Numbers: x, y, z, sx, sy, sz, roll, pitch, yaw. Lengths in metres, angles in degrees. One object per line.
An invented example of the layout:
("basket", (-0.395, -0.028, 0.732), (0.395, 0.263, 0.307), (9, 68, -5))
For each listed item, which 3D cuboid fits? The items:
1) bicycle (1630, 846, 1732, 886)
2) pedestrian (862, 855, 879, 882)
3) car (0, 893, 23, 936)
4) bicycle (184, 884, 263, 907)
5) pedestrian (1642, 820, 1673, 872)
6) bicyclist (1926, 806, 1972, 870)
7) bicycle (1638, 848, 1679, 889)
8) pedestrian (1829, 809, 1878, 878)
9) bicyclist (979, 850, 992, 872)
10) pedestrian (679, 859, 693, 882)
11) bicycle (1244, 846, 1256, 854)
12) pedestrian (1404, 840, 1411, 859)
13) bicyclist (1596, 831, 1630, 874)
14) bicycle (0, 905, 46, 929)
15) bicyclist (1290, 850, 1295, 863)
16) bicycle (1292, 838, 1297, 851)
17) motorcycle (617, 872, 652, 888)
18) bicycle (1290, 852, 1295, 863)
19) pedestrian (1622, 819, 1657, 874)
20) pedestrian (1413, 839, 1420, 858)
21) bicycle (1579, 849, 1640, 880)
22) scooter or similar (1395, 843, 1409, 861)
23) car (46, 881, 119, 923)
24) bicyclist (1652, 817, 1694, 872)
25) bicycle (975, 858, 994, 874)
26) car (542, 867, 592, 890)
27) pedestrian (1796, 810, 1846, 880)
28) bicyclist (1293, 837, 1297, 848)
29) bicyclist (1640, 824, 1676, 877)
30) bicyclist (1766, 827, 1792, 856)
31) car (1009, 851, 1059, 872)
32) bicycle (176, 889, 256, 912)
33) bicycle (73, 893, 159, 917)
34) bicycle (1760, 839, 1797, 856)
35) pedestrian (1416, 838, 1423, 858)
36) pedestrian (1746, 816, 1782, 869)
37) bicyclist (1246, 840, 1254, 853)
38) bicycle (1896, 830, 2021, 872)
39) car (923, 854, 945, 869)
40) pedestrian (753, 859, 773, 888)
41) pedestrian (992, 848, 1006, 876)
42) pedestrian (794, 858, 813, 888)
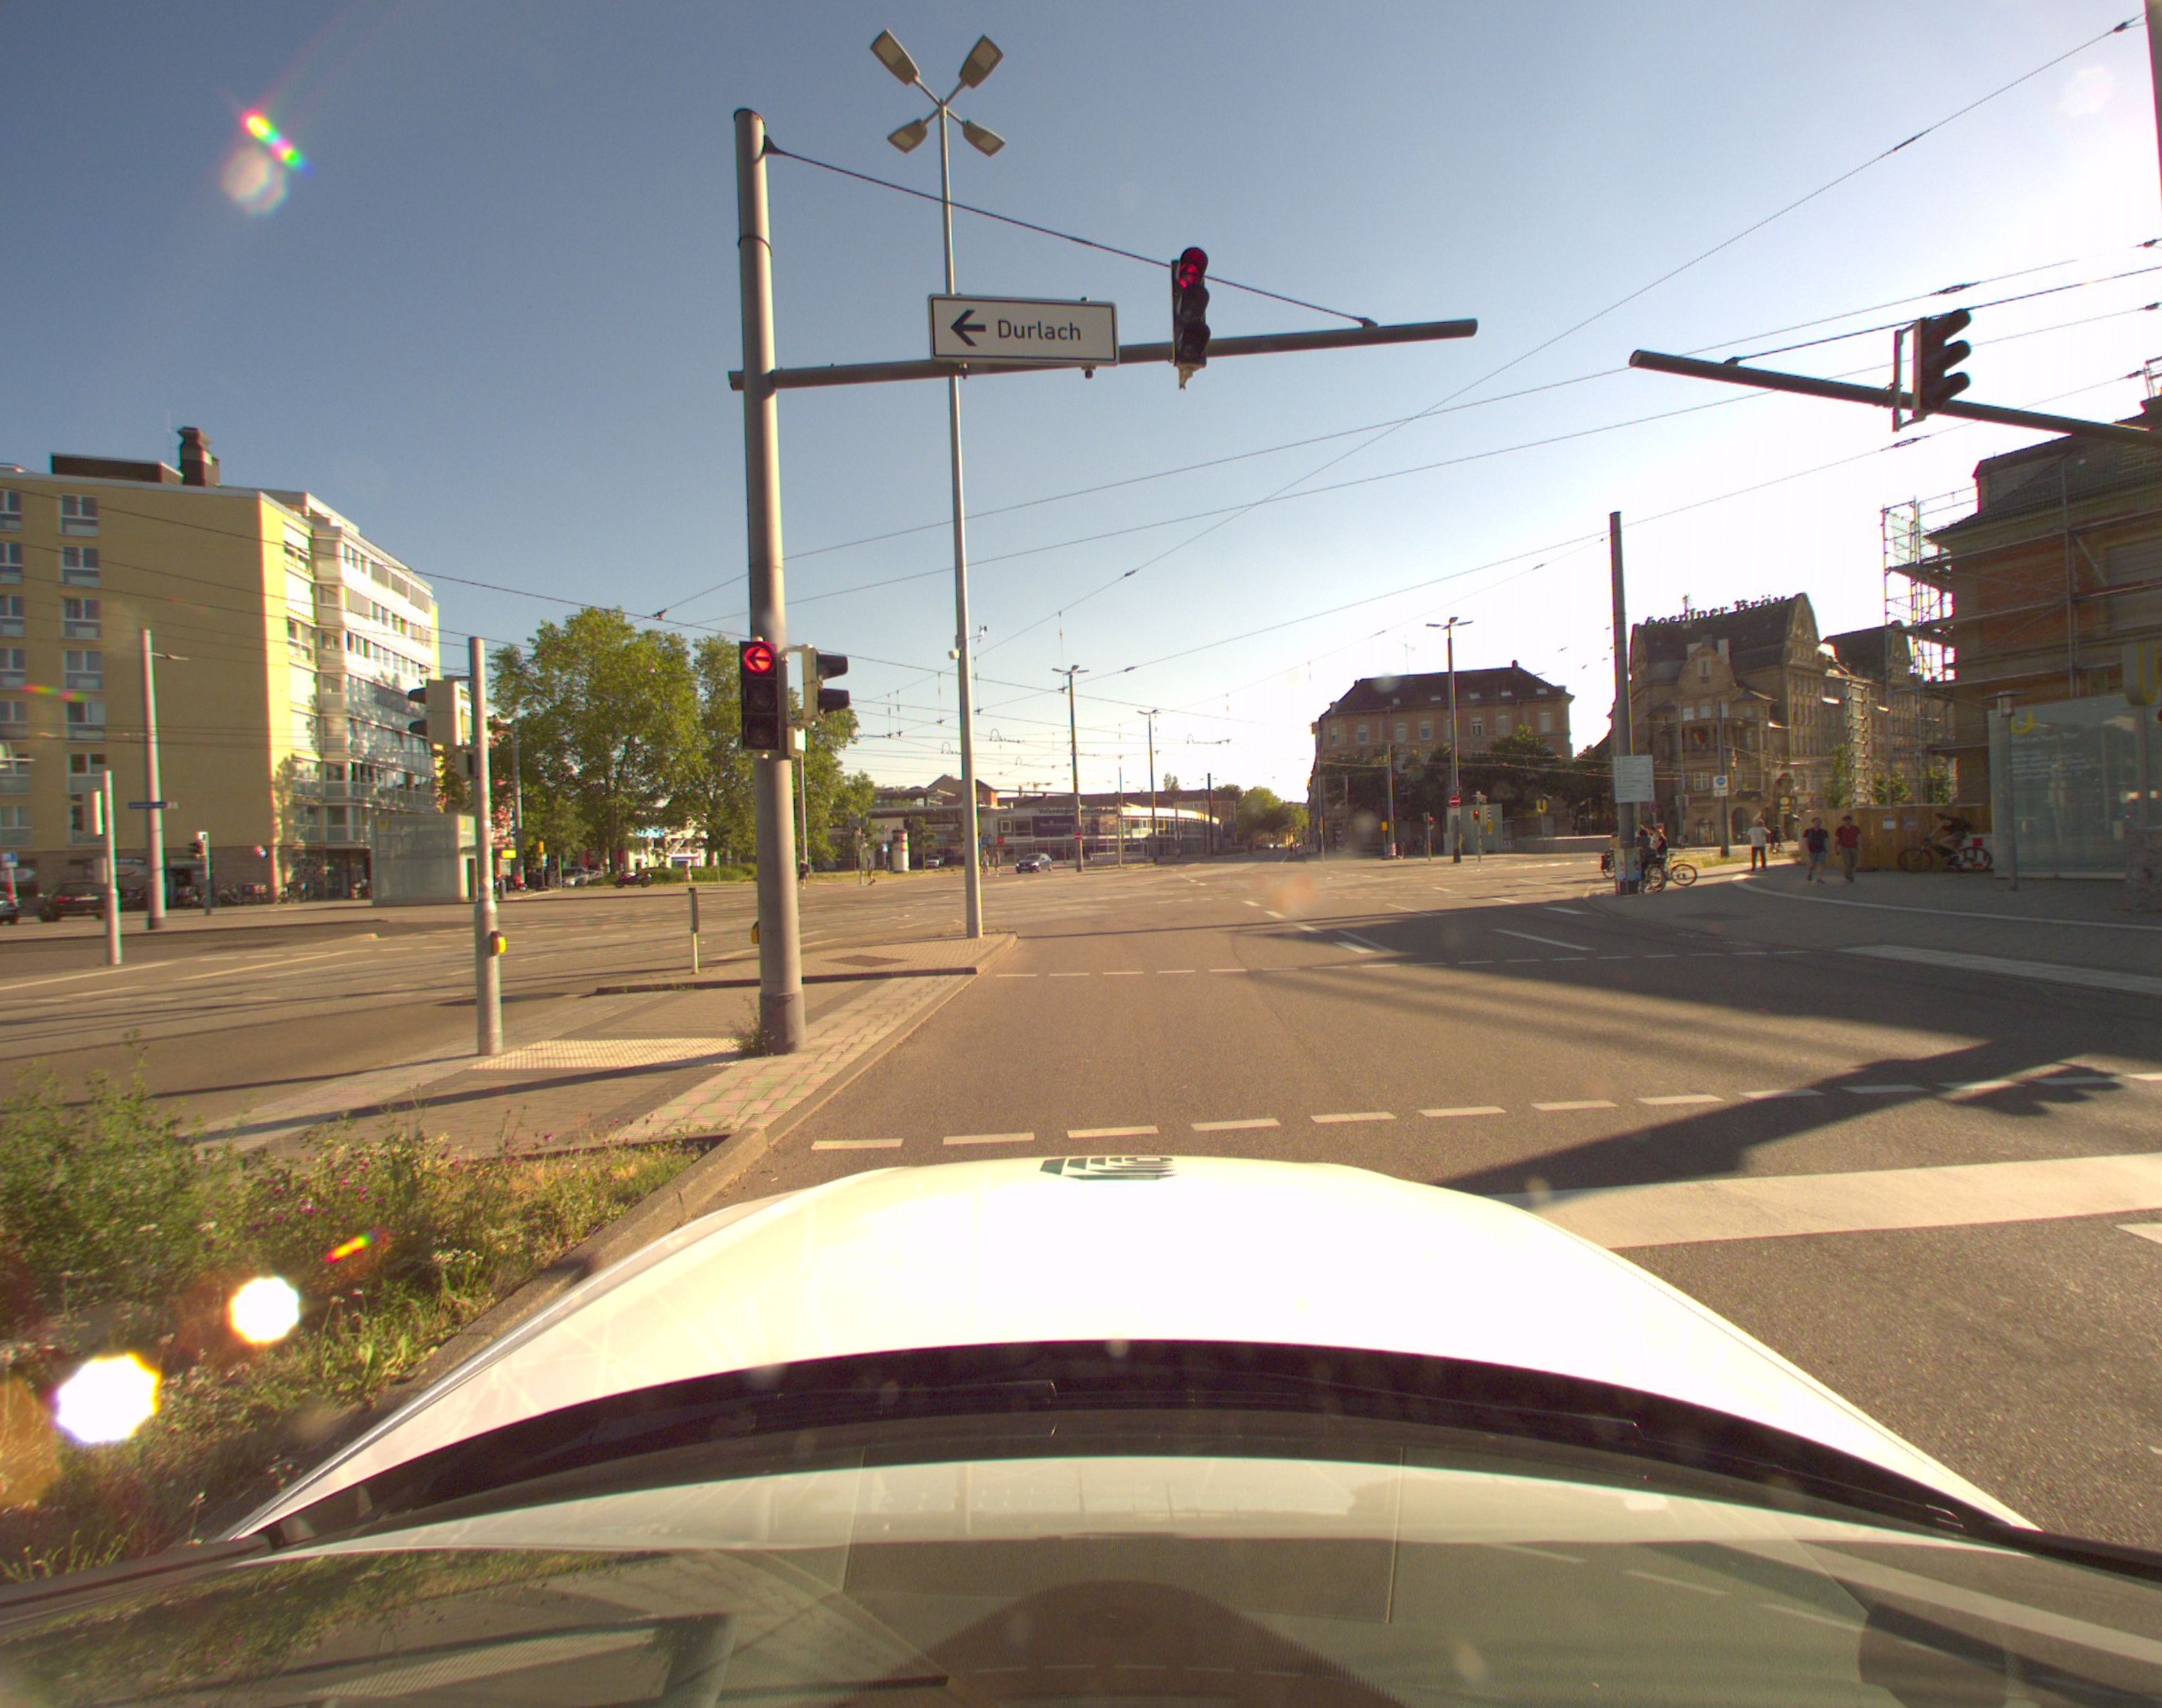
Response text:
("bicycle", (17.350, 0.363, 23.621), (2.290, 1.049, 0.705), (-3, -2, 32))
("pedestrian", (-13.300, 0.897, 51.486), (0.790, 1.706, 0.760), (-1, -1, 9))
("car", (-47.044, 2.583, 34.827), (3.948, 1.706, 2.013), (-1, -1, 35))
("bicycle", (-46.521, 2.225, 44.216), (3.041, 1.151, 0.637), (0, -1, -16))
("pedestrian", (21.752, -0.303, 30.754), (0.646, 1.922, 0.689), (0, -1, -6))
("bicyclist", (24.639, -0.451, 23.123), (0.525, 1.779, 0.787), (0, -1, -34))
("bicycle", (15.895, 0.382, 22.458), (0.692, 1.049, 2.335), (-2, 0, 31))
("pedestrian", (20.403, -0.268, 21.510), (0.672, 1.807, 0.680), (0, -1, -19))
("bicyclist", (-7.043, 0.529, 60.050), (0.593, 1.615, 0.826), (-1, -1, 19))
("pedestrian", (-29.838, 1.242, 61.553), (0.854, 1.694, 0.497), (0, -1, -1))
("bicycle", (21.654, -0.489, 104.515), (0.661, 0.952, 1.585), (0, -1, -28))
("pedestrian", (34.303, -0.471, 85.612), (0.598, 2.013, 0.649), (-2, 0, 16))
("bicyclist", (19.176, -0.051, 29.355), (0.514, 1.557, 0.945), (0, -1, -6))
("bicycle", (-54.543, 3.179, 41.094), (3.041, 1.151, 0.637), (0, -1, -16))
("bicyclist", (17.984, 0.219, 69.218), (0.405, 1.116, 0.400), (-1, -1, 13))
("bicycle", (33.919, -1.508, 129.374), (0.613, 2.014, 2.410), (-1, -1, 16))
("motorcycle", (-27.263, 1.583, 49.746), (1.779, 0.914, 0.675), (0, -1, -19))
("bicycle", (17.941, 0.320, 69.107), (0.407, 0.941, 1.852), (-1, -1, 15))
("pedestrian", (20.995, -0.279, 30.626), (0.730, 2.014, 0.760), (0, -1, -6))
("pedestrian", (35.449, -0.615, 85.983), (0.598, 2.013, 0.649), (-2, 0, 16))
("bicycle", (19.153, 0.347, 29.570), (0.533, 1.049, 2.315), (0, 1, -6))
("scooter or similar", (24.771, -0.174, 62.825), (0.780, 1.376, 1.916), (-1, -1, 16))
("car", (-44.182, 2.079, 36.035), (3.948, 1.706, 1.730), (-1, -1, 35))
("bicyclist", (17.209, -0.273, 23.702), (0.935, 1.557, 0.715), (-1, -1, 32))
("bicycle", (-7.080, 0.867, 59.956), (0.607, 1.189, 1.878), (-1, -1, 19))
("car", (-37.306, 1.727, 59.228), (1.772, 1.567, 3.983), (0, -1, -12))
("pedestrian", (19.608, -0.237, 21.593), (0.672, 1.807, 0.680), (-3, 0, -19))
("bicyclist", (33.950, -1.824, 129.313), (0.595, 1.809, 0.830), (-1, -1, 15))
("bicyclist", (15.930, -0.083, 22.502), (0.701, 1.439, 0.953), (-1, -1, 30))
("bicyclist", (37.977, -0.688, 44.311), (1.046, 1.547, 0.842), (0, -1, -34))
("car", (-3.531, 0.569, 61.885), (1.975, 1.585, 4.024), (-1, -1, 29))
("bicycle", (-46.240, 2.467, 43.574), (3.041, 1.151, 0.637), (0, -1, -16))
("bicycle", (-50.292, 2.663, 42.472), (3.041, 1.151, 0.637), (0, -1, -16))
("bicycle", (37.997, -0.362, 44.330), (2.637, 0.914, 0.898), (0, -1, -35))
("pedestrian", (35.211, -0.623, 84.743), (0.598, 2.013, 0.649), (-2, 0, 16))
("pedestrian", (23.774, -0.395, 28.350), (0.646, 1.814, 0.689), (0, -1, -6))
("bicyclist", (21.707, -0.935, 104.501), (0.775, 1.577, 0.755), (0, -1, -27))
("bicycle", (24.705, -0.065, 22.989), (0.538, 1.049, 2.296), (-4, -1, -33))
("car", (-18.021, 0.882, 99.924), (1.988, 1.750, 3.997), (0, -1, -1))
("pedestrian", (-19.038, 1.160, 48.749), (0.790, 1.706, 0.760), (-1, -1, 9))
("pedestrian", (-5.554, 0.523, 55.198), (0.790, 1.886, 0.760), (-1, -1, 9))
("pedestrian", (-15.980, 1.074, 46.903), (0.790, 1.706, 0.760), (-1, -1, 9))
